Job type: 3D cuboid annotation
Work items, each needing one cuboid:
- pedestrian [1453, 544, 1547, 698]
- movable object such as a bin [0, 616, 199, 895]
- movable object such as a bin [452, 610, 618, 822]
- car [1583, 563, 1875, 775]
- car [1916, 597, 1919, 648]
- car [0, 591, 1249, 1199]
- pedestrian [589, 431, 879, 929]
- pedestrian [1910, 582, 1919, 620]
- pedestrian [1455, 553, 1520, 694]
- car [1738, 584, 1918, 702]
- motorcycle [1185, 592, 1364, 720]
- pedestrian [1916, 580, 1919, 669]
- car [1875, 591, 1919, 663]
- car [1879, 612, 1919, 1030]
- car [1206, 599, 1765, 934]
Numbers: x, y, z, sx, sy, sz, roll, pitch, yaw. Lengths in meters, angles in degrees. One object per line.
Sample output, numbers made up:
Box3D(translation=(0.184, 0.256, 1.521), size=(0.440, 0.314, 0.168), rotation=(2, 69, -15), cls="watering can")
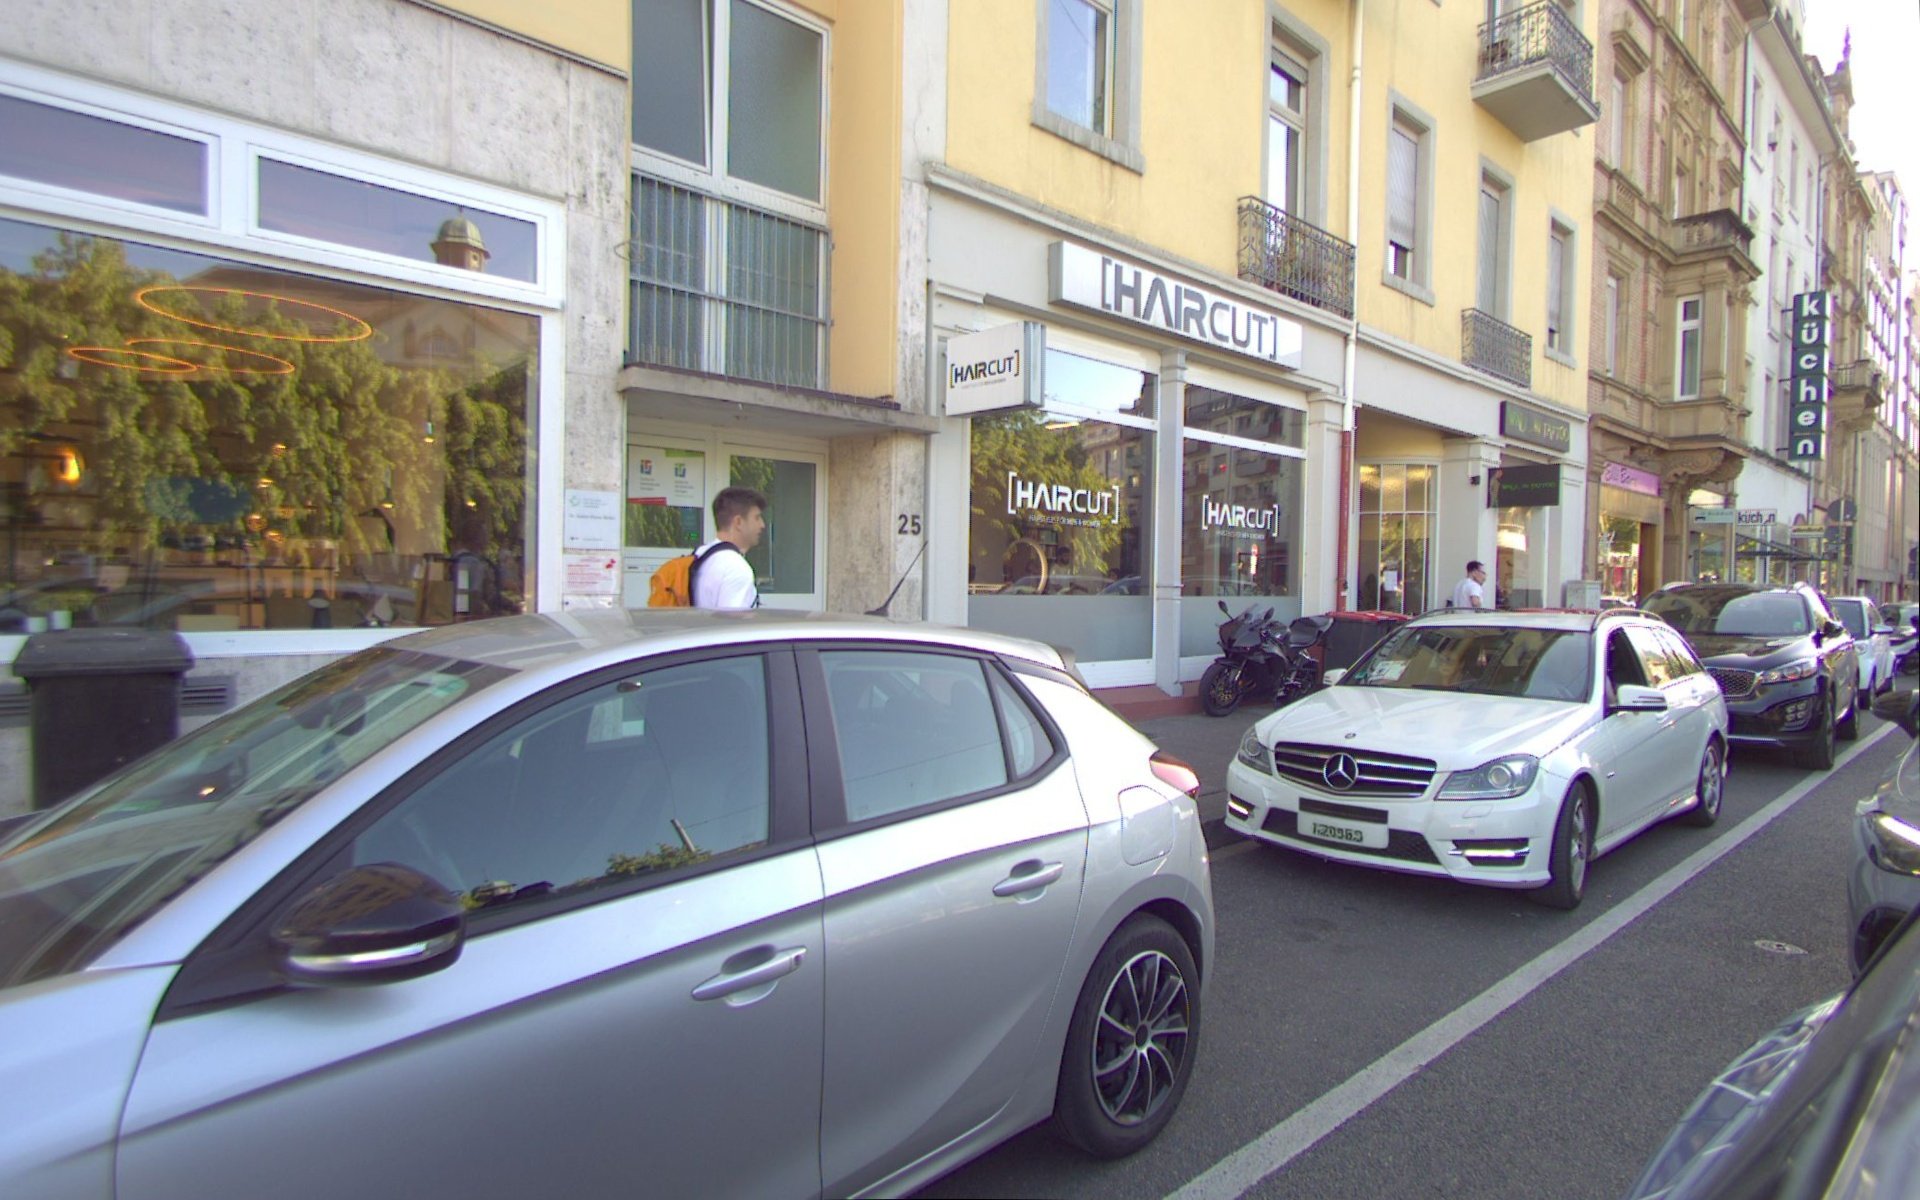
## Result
Box3D(translation=(6.831, 0.256, 12.841), size=(0.961, 1.900, 0.532), rotation=(0, 0, 18), cls="pedestrian")
Box3D(translation=(-3.679, 0.601, 4.322), size=(0.639, 1.036, 0.737), rotation=(0, 0, -41), cls="movable object such as a bin")
Box3D(translation=(-2.332, 0.582, 5.536), size=(0.639, 1.036, 0.737), rotation=(0, 0, -41), cls="movable object such as a bin")
Box3D(translation=(8.004, 0.532, 10.366), size=(4.338, 1.711, 1.802), rotation=(-1, 0, -45), cls="car")
Box3D(translation=(26.603, 0.575, 26.927), size=(3.306, 1.334, 1.459), rotation=(-1, 0, -42), cls="car")
Box3D(translation=(-1.011, 0.716, 2.306), size=(3.625, 1.455, 1.585), rotation=(-1, 0, -43), cls="car")
Box3D(translation=(-0.979, 0.282, 4.362), size=(0.964, 1.845, 0.811), rotation=(0, 2, -37), cls="pedestrian")
Box3D(translation=(45.514, 0.042, 47.836), size=(0.809, 1.782, 0.825), rotation=(0, 0, -42), cls="pedestrian")
Box3D(translation=(7.234, 0.302, 13.873), size=(0.627, 1.859, 0.760), rotation=(0, 0, 41), cls="pedestrian")
Box3D(translation=(12.766, 0.548, 14.852), size=(2.945, 1.542, 1.582), rotation=(-1, 0, -41), cls="car")
Box3D(translation=(3.296, 0.524, 10.503), size=(2.073, 1.144, 0.735), rotation=(-1, 5, -41), cls="motorcycle")
Box3D(translation=(19.430, 0.482, 19.776), size=(0.802, 1.741, 0.839), rotation=(0, 0, -23), cls="pedestrian")
Box3D(translation=(21.892, 0.566, 22.809), size=(3.736, 1.509, 1.691), rotation=(-1, 0, -45), cls="car")
Box3D(translation=(5.393, 0.751, 4.375), size=(4.397, 1.385, 1.767), rotation=(-1, 1, -43), cls="car")
Box3D(translation=(3.528, 0.709, 6.387), size=(4.301, 1.389, 1.671), rotation=(-1, 0, -41), cls="car")
